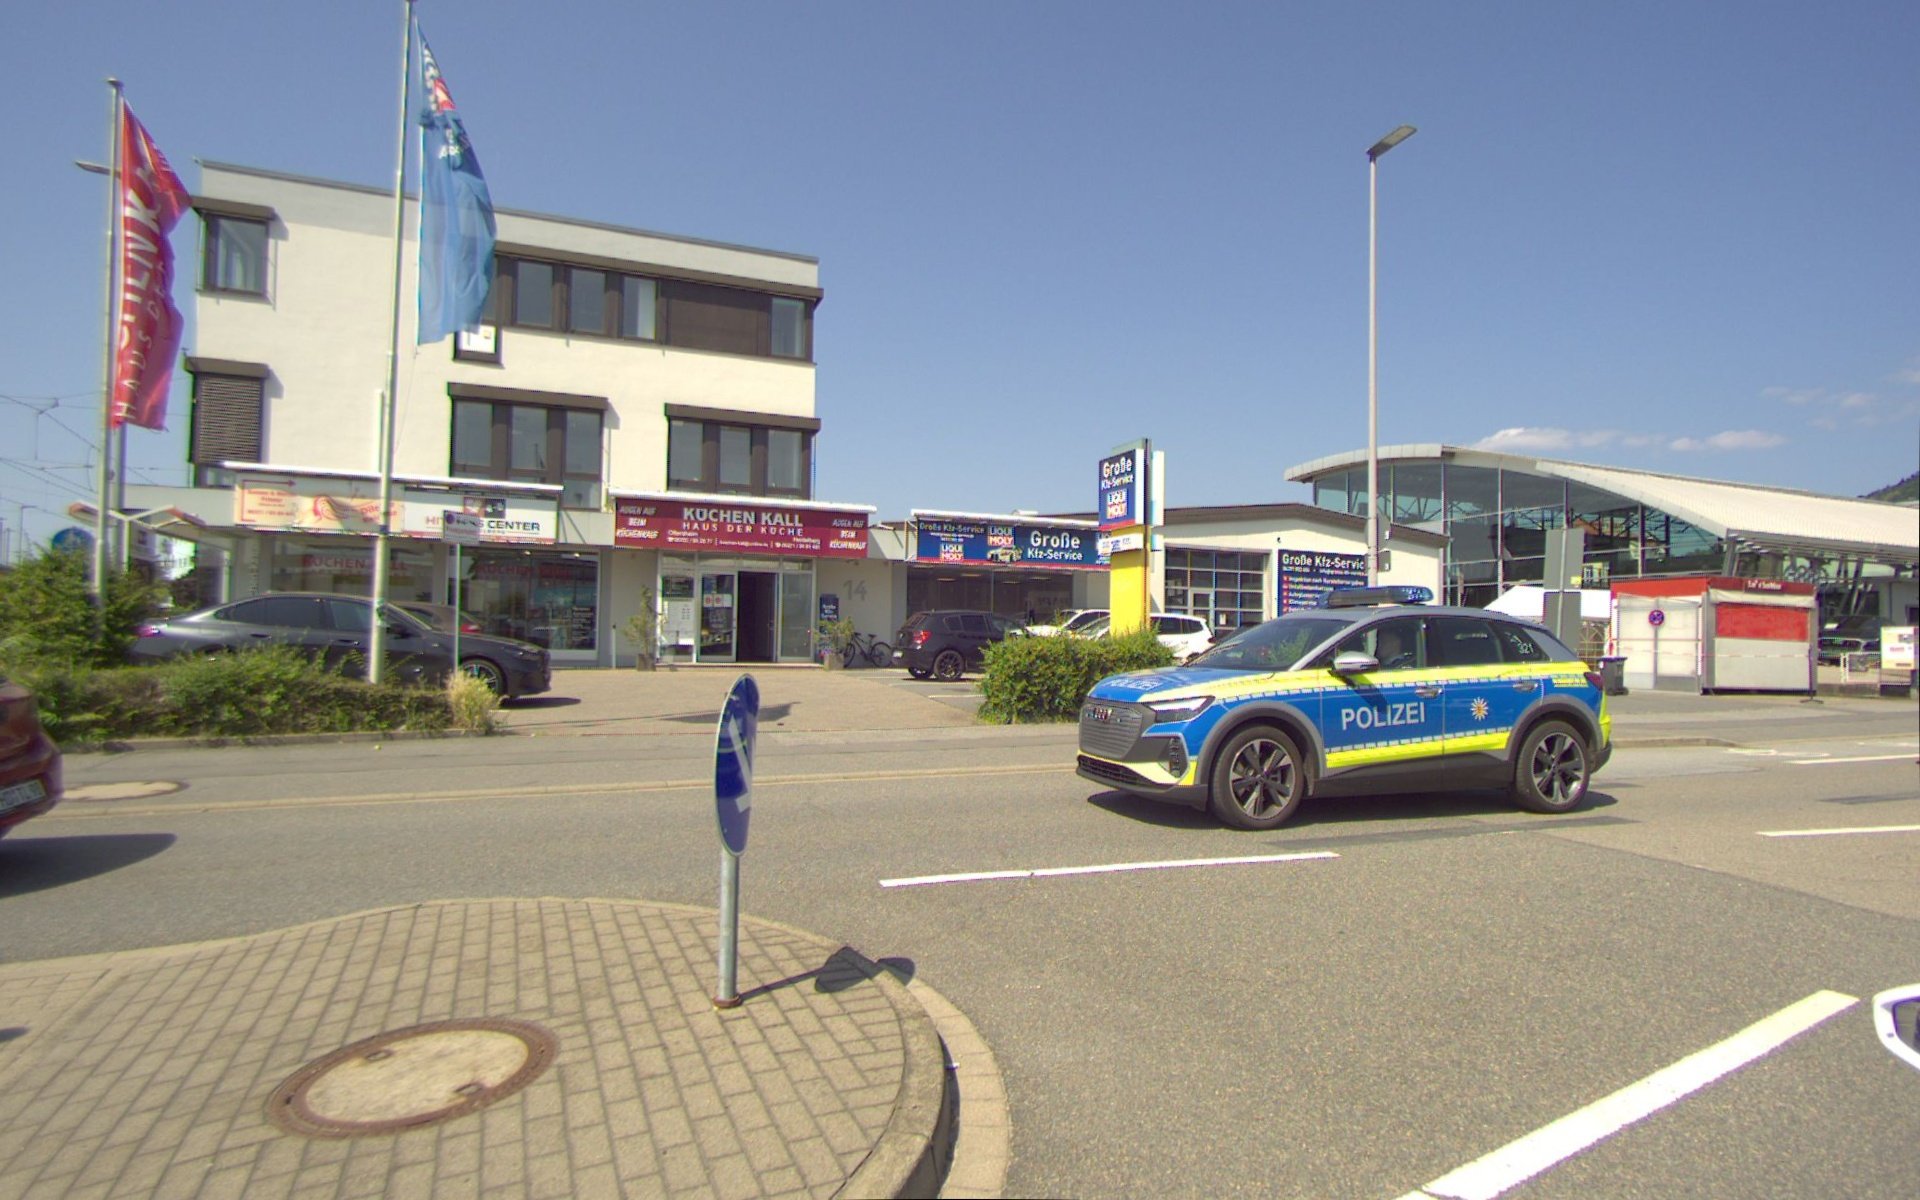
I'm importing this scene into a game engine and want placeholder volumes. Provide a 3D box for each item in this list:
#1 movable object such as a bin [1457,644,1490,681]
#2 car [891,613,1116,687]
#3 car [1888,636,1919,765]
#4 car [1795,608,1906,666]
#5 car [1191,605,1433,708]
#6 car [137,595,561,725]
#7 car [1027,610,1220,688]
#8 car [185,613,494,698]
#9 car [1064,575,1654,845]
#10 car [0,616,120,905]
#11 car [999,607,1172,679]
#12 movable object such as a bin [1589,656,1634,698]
[{"bbox_3d":[15.333,1.870,29.998,0.677,1.057,0.565,0,0,-10],"label":"movable object such as a bin"},{"bbox_3d":[0.901,1.033,21.143,4.351,1.440,1.905,1,-2,-20],"label":"car"},{"bbox_3d":[13.100,1.139,11.642,4.175,1.473,1.659,1,-4,-20],"label":"car"},{"bbox_3d":[30.019,1.229,33.808,4.691,1.742,1.978,2,1,-39],"label":"car"},{"bbox_3d":[6.480,1.014,18.546,3.940,1.737,1.902,1,-2,-21],"label":"car"},{"bbox_3d":[-8.199,0.807,14.081,4.744,1.594,1.905,1,-2,-20],"label":"car"},{"bbox_3d":[4.099,1.254,25.233,4.409,1.731,1.906,3,-3,-19],"label":"car"},{"bbox_3d":[-10.967,0.982,18.179,4.416,1.406,1.905,1,-2,-20],"label":"car"},{"bbox_3d":[3.195,0.791,8.234,4.284,1.782,1.892,1,-2,-18],"label":"car"},{"bbox_3d":[-6.938,0.835,4.838,4.045,1.473,1.761,0,-1,-19],"label":"car"},{"bbox_3d":[3.430,1.177,27.602,4.351,1.840,1.905,1,-2,-20],"label":"car"},{"bbox_3d":[15.536,1.832,23.960,0.677,0.935,0.572,0,0,-10],"label":"movable object such as a bin"}]
